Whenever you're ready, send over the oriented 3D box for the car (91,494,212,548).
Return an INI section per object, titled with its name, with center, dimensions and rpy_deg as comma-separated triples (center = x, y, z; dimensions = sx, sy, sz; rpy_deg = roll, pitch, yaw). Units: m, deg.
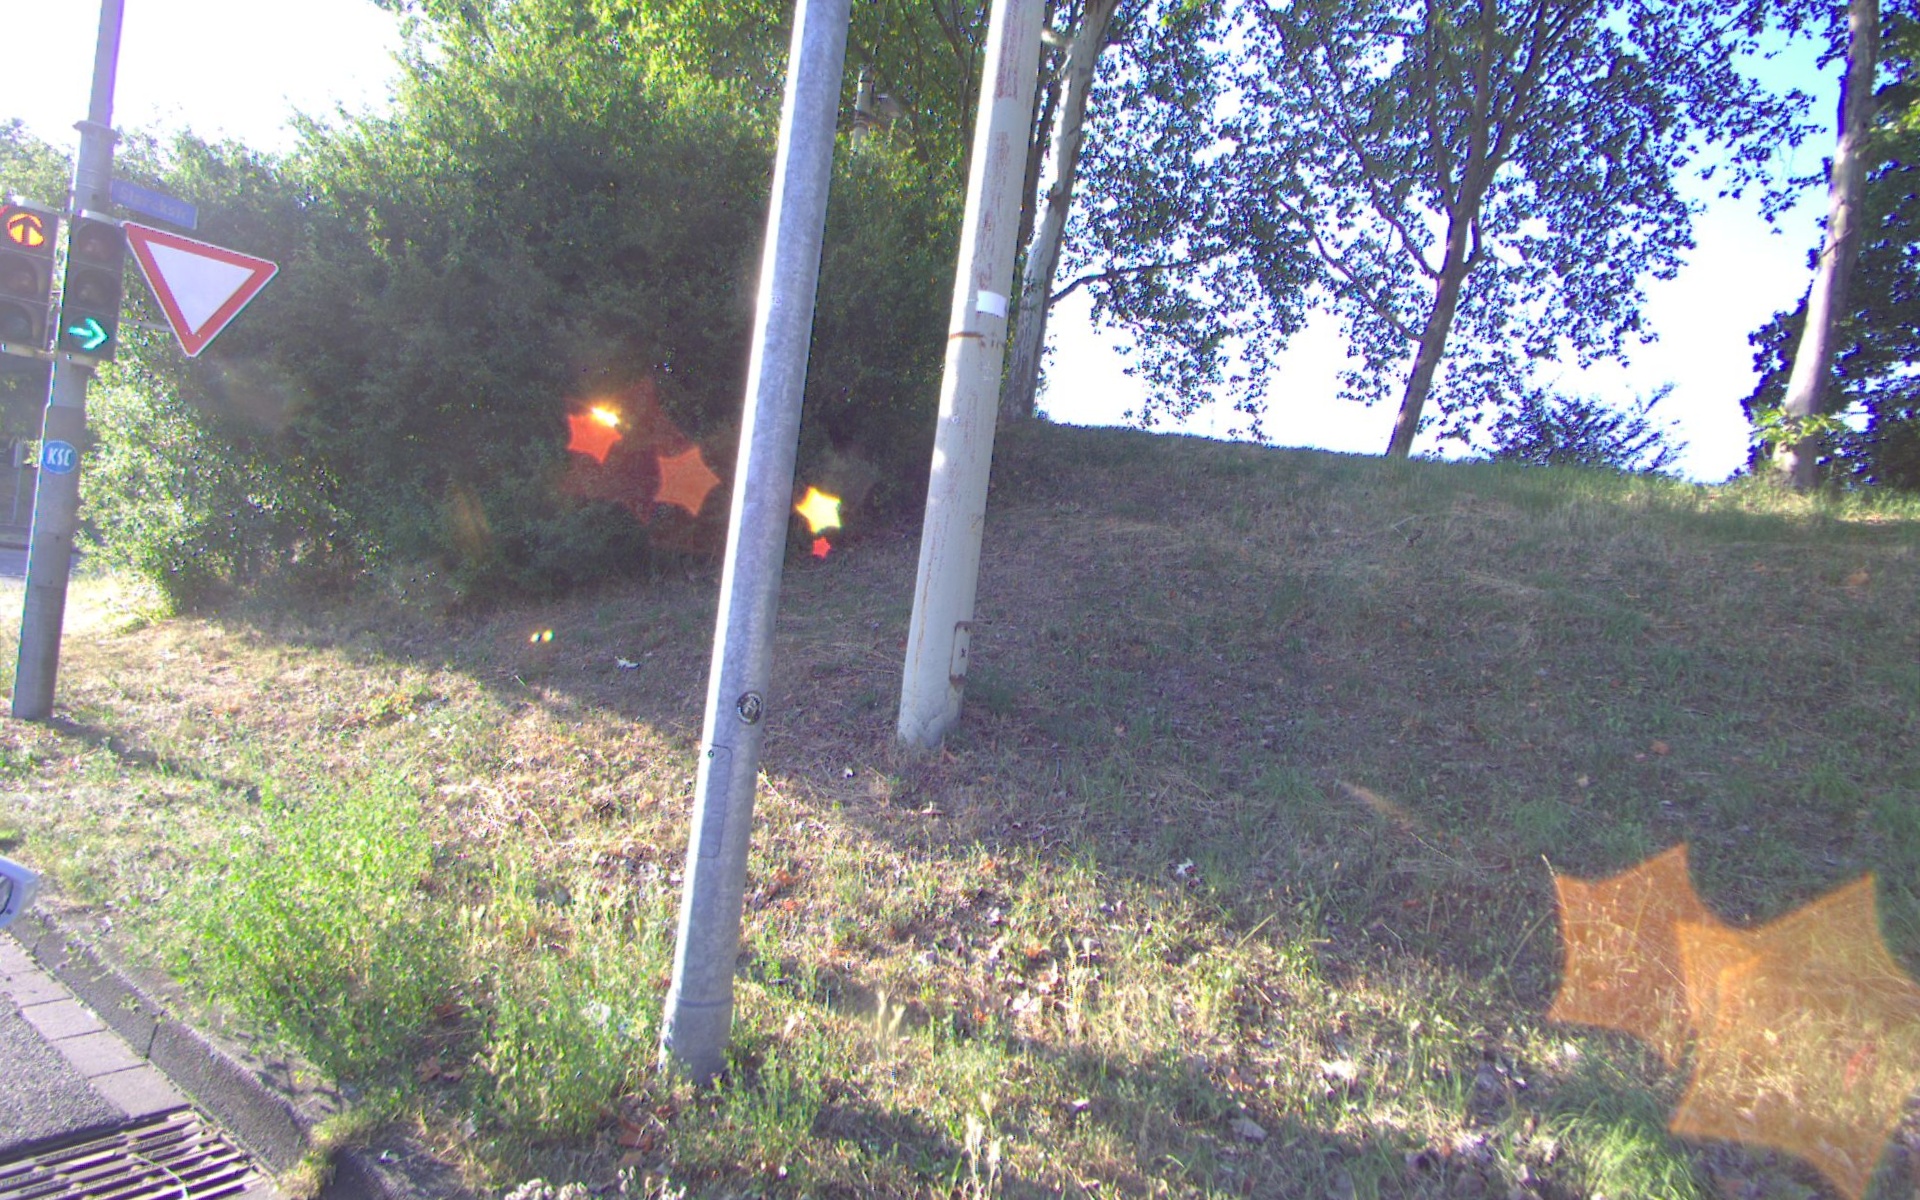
[car]
center = -39.137, -3.791, 48.826
dimensions = 1.822, 1.889, 4.149
rpy_deg = 7, -1, 17
